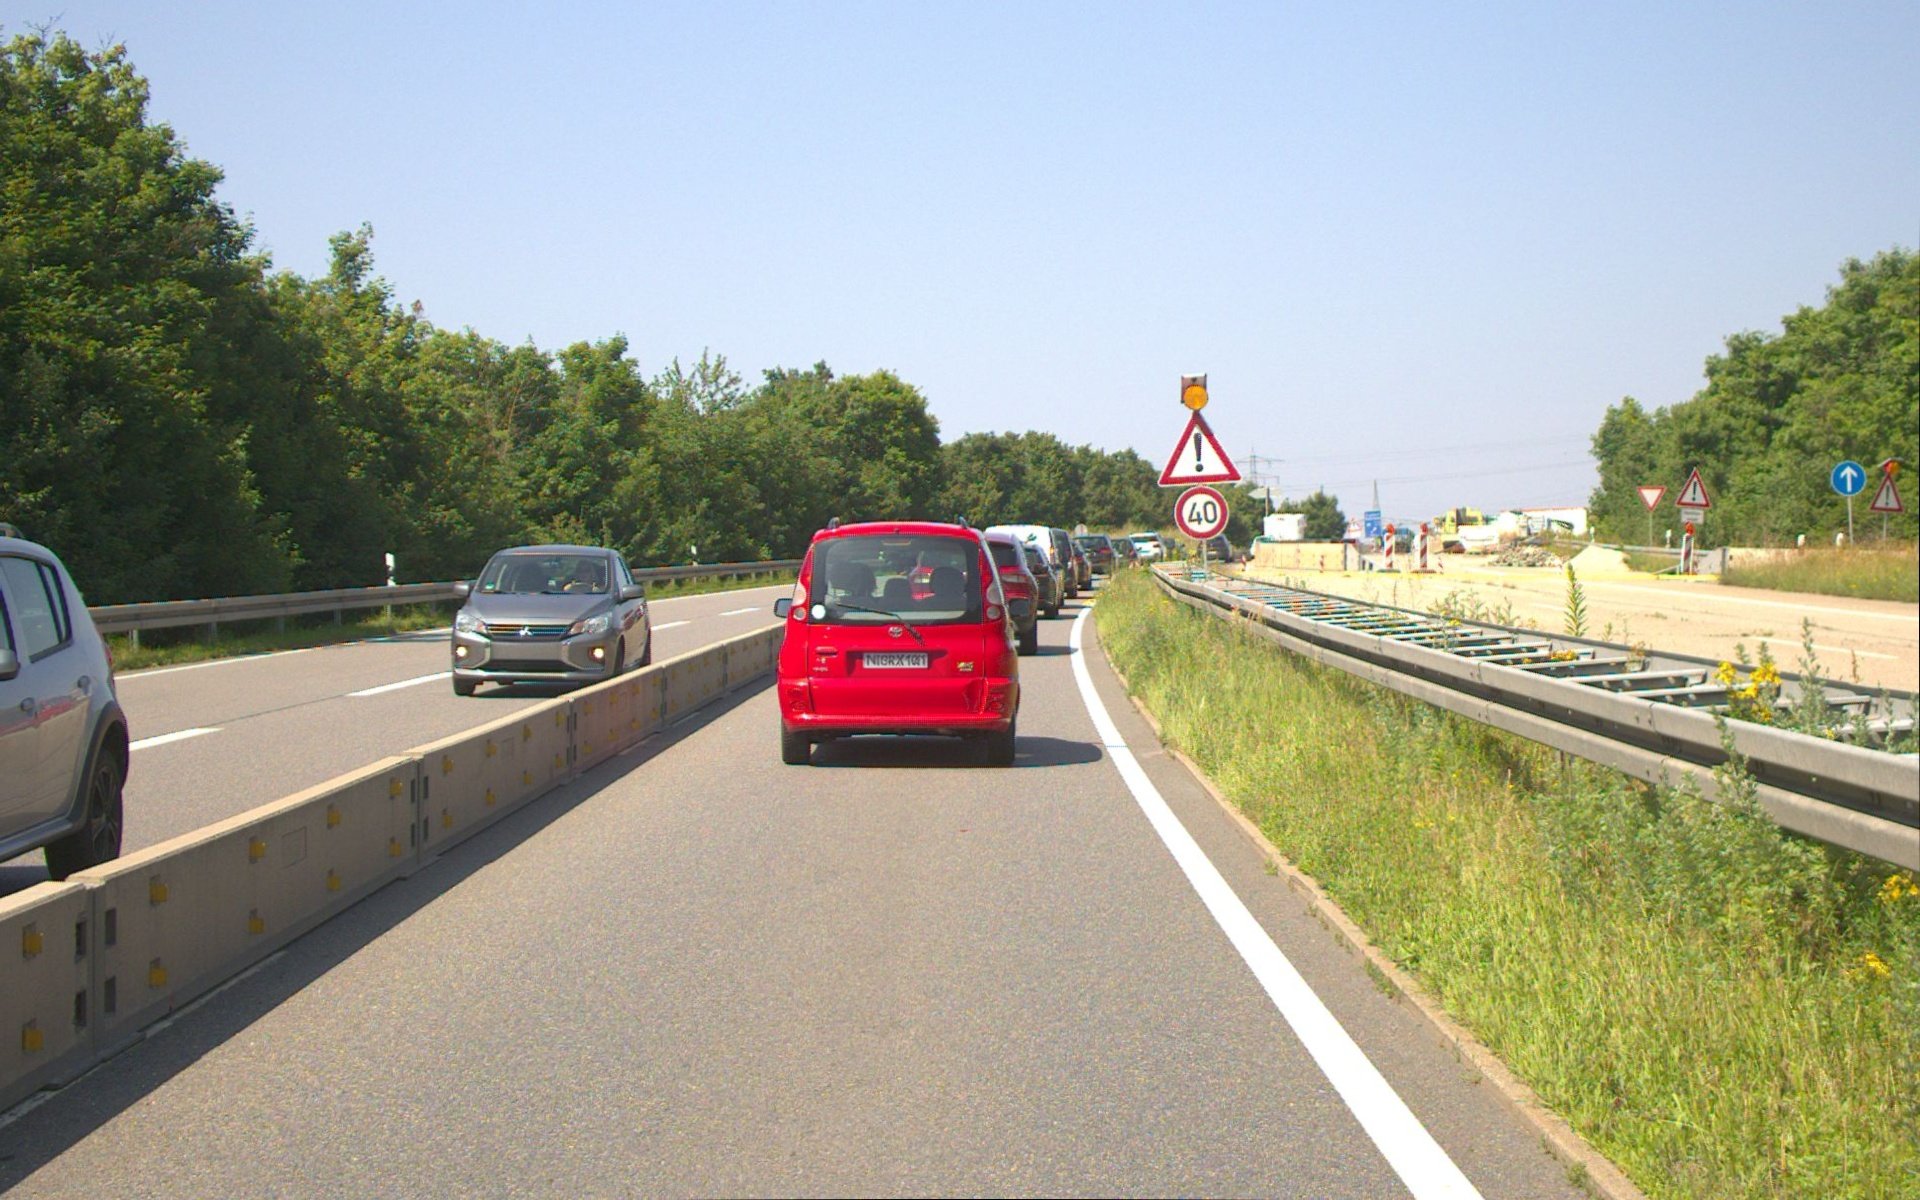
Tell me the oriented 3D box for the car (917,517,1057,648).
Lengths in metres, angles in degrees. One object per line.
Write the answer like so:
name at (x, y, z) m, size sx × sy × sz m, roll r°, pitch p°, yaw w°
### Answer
car at (0.401, -0.265, 47.541) m, size 1.830 × 1.716 × 4.000 m, roll -1°, pitch 1°, yaw 1°

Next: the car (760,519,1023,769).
car at (-0.514, 0.258, 24.921) m, size 1.751 × 1.667 × 4.000 m, roll 0°, pitch 1°, yaw -2°

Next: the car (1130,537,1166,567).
car at (8.290, -2.121, 151.375) m, size 1.421 × 1.294 × 2.878 m, roll -1°, pitch 1°, yaw 6°

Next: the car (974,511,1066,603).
car at (1.312, -0.966, 76.710) m, size 1.993 × 1.997 × 4.000 m, roll 0°, pitch 1°, yaw 0°

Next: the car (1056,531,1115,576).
car at (4.441, -1.641, 121.172) m, size 1.994 × 1.579 × 4.000 m, roll 0°, pitch 1°, yaw 3°

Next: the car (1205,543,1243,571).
car at (14.676, -2.383, 191.049) m, size 1.994 × 1.546 × 4.000 m, roll 0°, pitch 1°, yaw 3°

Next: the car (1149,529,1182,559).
car at (9.973, -2.732, 166.913) m, size 1.502 × 1.446 × 3.169 m, roll 0°, pitch 1°, yaw 5°

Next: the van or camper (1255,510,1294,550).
van or camper at (21.627, -4.791, 236.678) m, size 2.328 × 2.697 × 4.593 m, roll -1°, pitch 1°, yaw 1°

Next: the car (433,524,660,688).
car at (-4.188, 0.030, 35.439) m, size 1.948 × 1.573 × 4.436 m, roll 0°, pitch 1°, yaw -2°

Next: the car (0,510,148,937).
car at (-4.573, 0.470, 13.602) m, size 1.829 × 1.624 × 3.784 m, roll 0°, pitch 1°, yaw 0°

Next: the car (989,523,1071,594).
car at (1.768, -1.069, 87.987) m, size 1.993 × 1.744 × 4.000 m, roll -1°, pitch 1°, yaw 0°

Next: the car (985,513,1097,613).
car at (1.525, -0.729, 66.334) m, size 1.993 × 1.831 × 4.000 m, roll -1°, pitch 1°, yaw 0°

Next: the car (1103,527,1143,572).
car at (6.468, -2.010, 136.258) m, size 1.502 × 1.730 × 3.170 m, roll 0°, pitch 1°, yaw 3°
